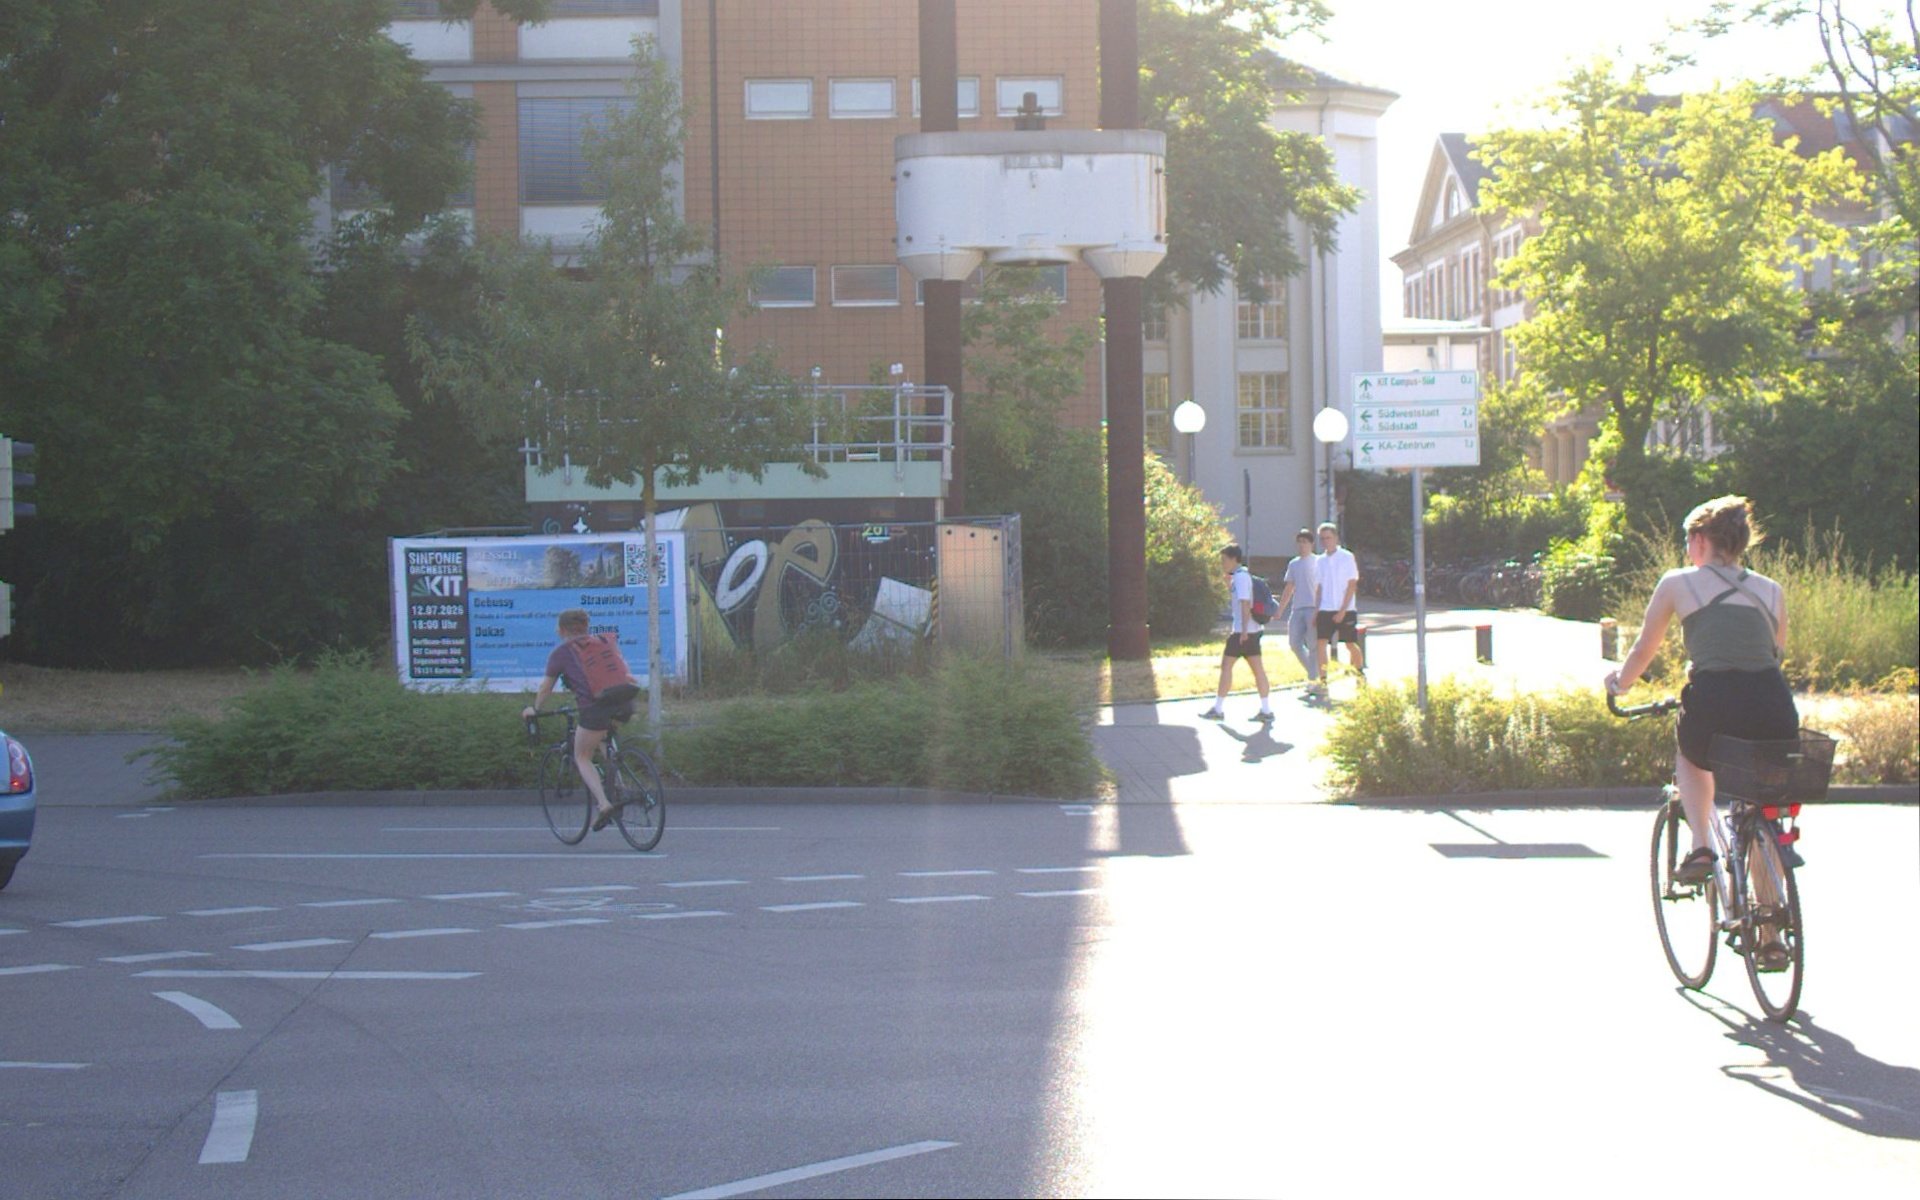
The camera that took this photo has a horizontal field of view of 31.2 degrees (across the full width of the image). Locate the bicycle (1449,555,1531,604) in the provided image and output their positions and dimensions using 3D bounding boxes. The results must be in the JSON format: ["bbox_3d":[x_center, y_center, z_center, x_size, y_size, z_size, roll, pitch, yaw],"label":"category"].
[{"bbox_3d":[12.158,-0.476,78.898,1.794,1.104,0.500,1,0,2],"label":"bicycle"}]

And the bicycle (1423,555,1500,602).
[{"bbox_3d":[12.164,-0.528,83.448,1.794,1.104,0.500,1,0,2],"label":"bicycle"}]

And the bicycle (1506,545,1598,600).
[{"bbox_3d":[12.220,-0.568,70.998,1.794,1.104,0.500,1,0,2],"label":"bicycle"}]

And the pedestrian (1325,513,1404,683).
[{"bbox_3d":[4.490,-0.030,38.171,0.575,1.863,0.622,-2,1,-37],"label":"pedestrian"}]

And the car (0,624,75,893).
[{"bbox_3d":[-6.846,0.870,19.491,1.802,1.439,3.975,0,-1,-44],"label":"car"}]

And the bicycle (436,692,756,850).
[{"bbox_3d":[-2.379,1.098,22.254,2.247,0.949,0.720,-2,-1,42],"label":"bicycle"}]

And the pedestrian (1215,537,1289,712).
[{"bbox_3d":[2.876,0.234,33.835,0.628,1.693,0.622,-1,1,11],"label":"pedestrian"}]

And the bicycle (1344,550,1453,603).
[{"bbox_3d":[11.924,-0.648,93.518,2.872,1.376,0.682,1,0,2],"label":"bicycle"}]

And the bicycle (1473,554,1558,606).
[{"bbox_3d":[12.350,-0.445,76.455,1.794,1.104,0.500,1,0,2],"label":"bicycle"}]

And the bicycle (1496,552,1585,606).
[{"bbox_3d":[12.267,-0.449,72.687,1.794,1.104,0.500,1,0,2],"label":"bicycle"}]

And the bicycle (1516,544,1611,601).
[{"bbox_3d":[12.123,-0.554,69.065,1.794,1.104,0.500,1,0,2],"label":"bicycle"}]

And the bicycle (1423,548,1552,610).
[{"bbox_3d":[12.206,-0.484,79.667,2.872,1.376,0.682,1,0,2],"label":"bicycle"}]

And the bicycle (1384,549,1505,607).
[{"bbox_3d":[12.007,-0.552,85.237,2.872,1.376,0.682,1,0,2],"label":"bicycle"}]

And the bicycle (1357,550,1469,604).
[{"bbox_3d":[12.052,-0.622,91.455,2.872,1.376,0.682,1,0,2],"label":"bicycle"}]

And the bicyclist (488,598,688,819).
[{"bbox_3d":[-2.416,0.700,22.291,1.075,1.380,0.720,-3,-1,42],"label":"bicyclist"}]

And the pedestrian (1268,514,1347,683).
[{"bbox_3d":[3.893,-0.024,38.530,0.575,1.863,0.622,-2,1,-37],"label":"pedestrian"}]

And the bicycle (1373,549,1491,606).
[{"bbox_3d":[11.976,-0.575,87.277,2.872,1.376,0.682,1,0,2],"label":"bicycle"}]

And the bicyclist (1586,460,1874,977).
[{"bbox_3d":[2.596,0.377,11.701,0.778,1.671,1.093,-1,1,4],"label":"bicyclist"}]

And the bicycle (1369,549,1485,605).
[{"bbox_3d":[11.973,-0.586,88.147,2.872,1.376,0.682,1,0,2],"label":"bicycle"}]

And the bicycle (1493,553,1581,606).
[{"bbox_3d":[12.330,-0.432,73.493,1.794,1.104,0.500,1,0,2],"label":"bicycle"}]

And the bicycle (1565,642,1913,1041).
[{"bbox_3d":[2.601,0.760,11.736,0.778,1.152,2.291,-1,1,3],"label":"bicycle"}]

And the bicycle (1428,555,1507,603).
[{"bbox_3d":[12.023,-0.508,81.517,1.794,1.104,0.500,1,0,2],"label":"bicycle"}]
